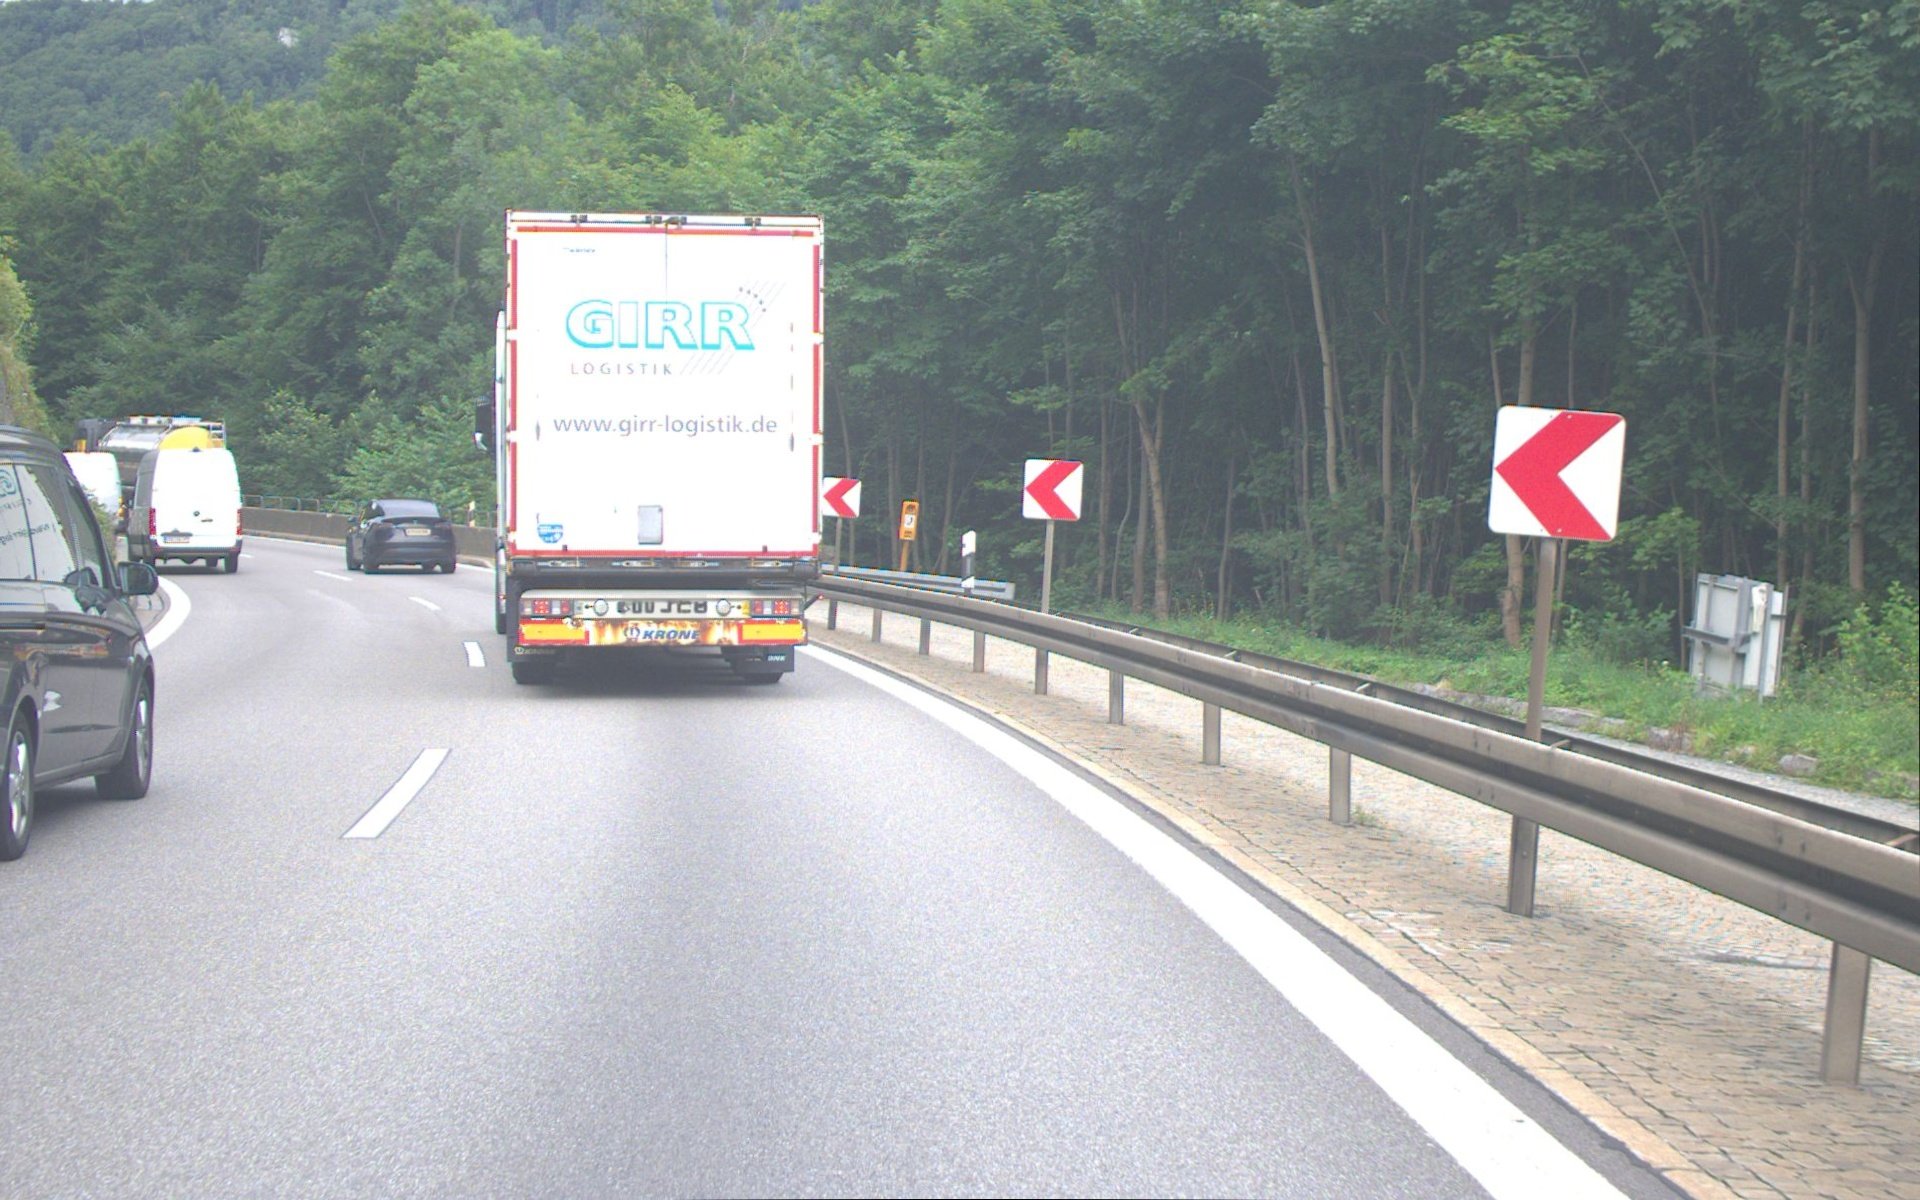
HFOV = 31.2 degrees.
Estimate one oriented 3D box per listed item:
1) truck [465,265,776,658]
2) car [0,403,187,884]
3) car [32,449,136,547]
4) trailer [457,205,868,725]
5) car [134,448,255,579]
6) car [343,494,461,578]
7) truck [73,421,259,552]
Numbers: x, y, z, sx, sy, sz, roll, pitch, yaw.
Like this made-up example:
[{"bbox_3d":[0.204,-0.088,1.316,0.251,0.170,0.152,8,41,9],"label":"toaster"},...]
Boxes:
[{"bbox_3d":[-4.052,-1.634,39.761,3.057,3.972,7.190,3,3,-8],"label":"truck"},{"bbox_3d":[-5.132,0.120,16.383,1.993,2.007,5.541,0,1,-4],"label":"car"},{"bbox_3d":[-25.234,-2.969,98.873,1.939,2.663,5.993,2,1,-23],"label":"car"},{"bbox_3d":[-3.170,-1.379,33.387,3.057,3.972,12.141,3,3,-8],"label":"trailer"},{"bbox_3d":[-16.864,-1.933,75.517,1.988,2.663,6.939,2,1,-17],"label":"car"},{"bbox_3d":[-12.064,-1.405,74.137,1.993,1.656,4.002,2,1,-16],"label":"car"},{"bbox_3d":[-25.786,-3.700,111.003,3.057,3.972,13.702,-1,2,-25],"label":"truck"}]
